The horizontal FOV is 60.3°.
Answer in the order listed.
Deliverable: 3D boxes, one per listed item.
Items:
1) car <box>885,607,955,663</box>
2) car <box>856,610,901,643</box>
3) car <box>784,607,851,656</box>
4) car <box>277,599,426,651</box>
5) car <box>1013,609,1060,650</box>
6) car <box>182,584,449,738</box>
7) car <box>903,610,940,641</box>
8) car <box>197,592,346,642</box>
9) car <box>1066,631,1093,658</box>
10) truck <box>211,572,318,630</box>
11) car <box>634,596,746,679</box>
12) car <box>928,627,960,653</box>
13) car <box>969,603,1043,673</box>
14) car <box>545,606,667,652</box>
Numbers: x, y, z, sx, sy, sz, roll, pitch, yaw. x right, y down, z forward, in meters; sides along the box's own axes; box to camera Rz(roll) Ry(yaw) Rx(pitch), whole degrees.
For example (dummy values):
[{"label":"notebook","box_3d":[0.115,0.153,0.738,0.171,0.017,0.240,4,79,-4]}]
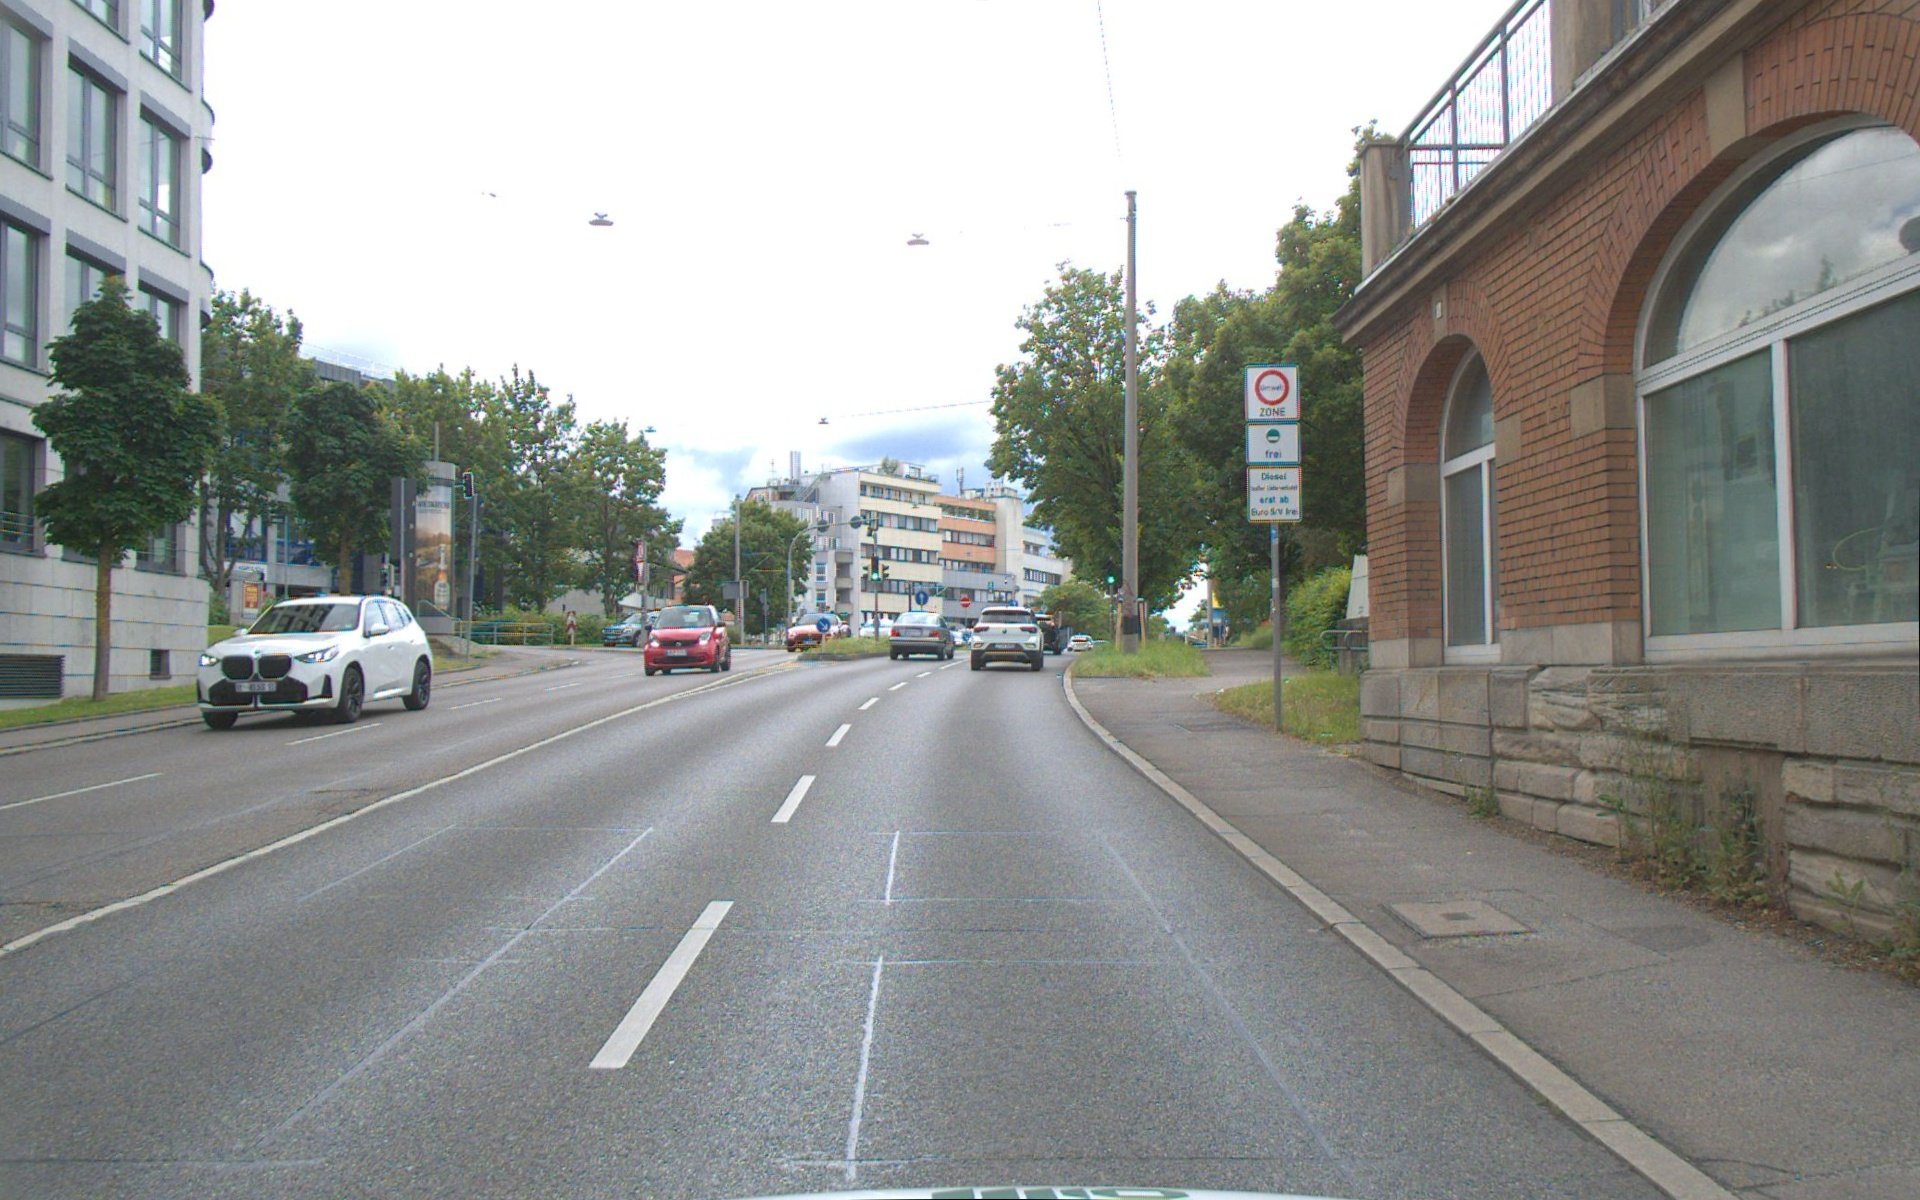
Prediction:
[{"label":"car","box_3d":[-1.160,1.012,49.362,1.664,1.542,3.738,0,1,5]},{"label":"car","box_3d":[-3.744,1.198,76.343,1.740,1.507,3.981,0,0,2]},{"label":"car","box_3d":[-5.166,1.110,60.501,1.733,1.598,4.287,-3,0,4]},{"label":"car","box_3d":[-18.930,0.771,51.677,1.741,1.488,4.438,1,0,24]},{"label":"car","box_3d":[2.913,1.155,63.672,1.665,1.542,3.493,0,-1,0]},{"label":"car","box_3d":[-8.749,0.756,22.923,1.832,1.820,4.653,-3,0,-1]},{"label":"car","box_3d":[-2.043,1.323,88.243,1.740,1.592,4.001,0,0,2]},{"label":"car","box_3d":[-22.325,0.586,53.828,1.741,1.489,4.437,1,-1,24]},{"label":"car","box_3d":[7.774,2.883,108.006,1.733,1.598,4.287,0,0,4]},{"label":"truck","box_3d":[-30.176,0.045,71.839,1.954,2.428,3.997,1,0,25]},{"label":"car","box_3d":[-6.218,0.819,38.546,1.832,1.731,4.429,-3,0,-1]},{"label":"car","box_3d":[-0.997,2.466,103.022,1.740,1.507,4.482,-1,0,2]},{"label":"car","box_3d":[1.213,0.921,42.175,1.664,1.575,3.738,3,1,4]},{"label":"car","box_3d":[-12.548,1.023,58.780,1.750,1.571,3.974,-1,-1,43]}]
